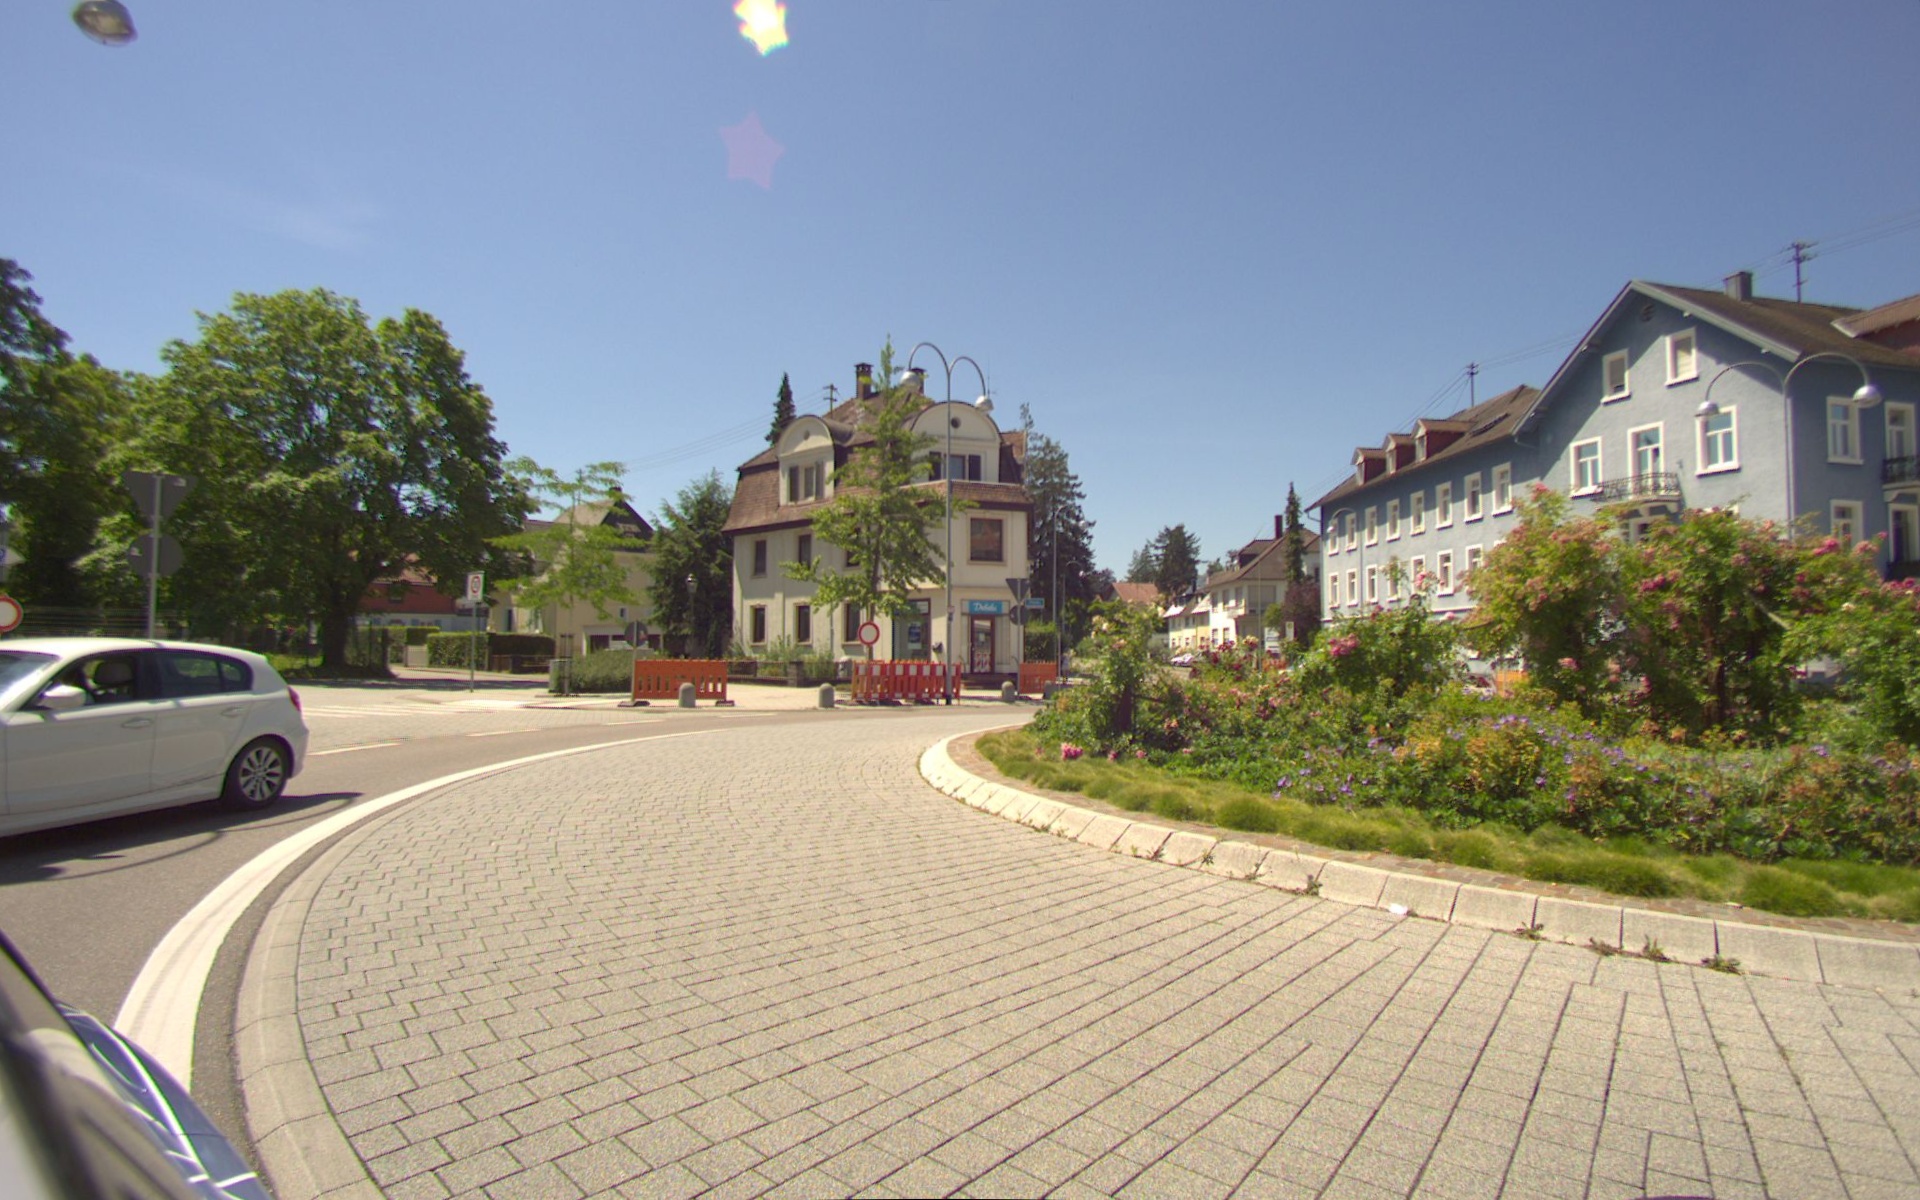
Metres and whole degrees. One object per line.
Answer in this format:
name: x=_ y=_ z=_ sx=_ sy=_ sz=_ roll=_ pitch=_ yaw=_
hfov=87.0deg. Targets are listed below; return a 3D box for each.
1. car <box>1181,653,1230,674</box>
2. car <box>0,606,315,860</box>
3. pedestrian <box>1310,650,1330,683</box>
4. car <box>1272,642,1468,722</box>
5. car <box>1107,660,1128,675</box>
car: x=24.049 y=6.222 z=99.136 sx=4.298 sy=1.891 sz=1.852 roll=2 pitch=-4 yaw=-5
car: x=-6.754 y=0.963 z=6.946 sx=1.765 sy=1.563 sz=4.120 roll=-6 pitch=-6 yaw=5
pedestrian: x=20.581 y=3.797 z=57.899 sx=0.747 sy=1.862 sz=0.772 roll=-3 pitch=-4 yaw=-1
car: x=9.793 y=1.953 z=24.497 sx=4.211 sy=1.791 sz=1.769 roll=-1 pitch=-4 yaw=20
car: x=17.867 y=7.587 z=114.781 sx=1.651 sy=1.463 sz=3.999 roll=3 pitch=-1 yaw=18
